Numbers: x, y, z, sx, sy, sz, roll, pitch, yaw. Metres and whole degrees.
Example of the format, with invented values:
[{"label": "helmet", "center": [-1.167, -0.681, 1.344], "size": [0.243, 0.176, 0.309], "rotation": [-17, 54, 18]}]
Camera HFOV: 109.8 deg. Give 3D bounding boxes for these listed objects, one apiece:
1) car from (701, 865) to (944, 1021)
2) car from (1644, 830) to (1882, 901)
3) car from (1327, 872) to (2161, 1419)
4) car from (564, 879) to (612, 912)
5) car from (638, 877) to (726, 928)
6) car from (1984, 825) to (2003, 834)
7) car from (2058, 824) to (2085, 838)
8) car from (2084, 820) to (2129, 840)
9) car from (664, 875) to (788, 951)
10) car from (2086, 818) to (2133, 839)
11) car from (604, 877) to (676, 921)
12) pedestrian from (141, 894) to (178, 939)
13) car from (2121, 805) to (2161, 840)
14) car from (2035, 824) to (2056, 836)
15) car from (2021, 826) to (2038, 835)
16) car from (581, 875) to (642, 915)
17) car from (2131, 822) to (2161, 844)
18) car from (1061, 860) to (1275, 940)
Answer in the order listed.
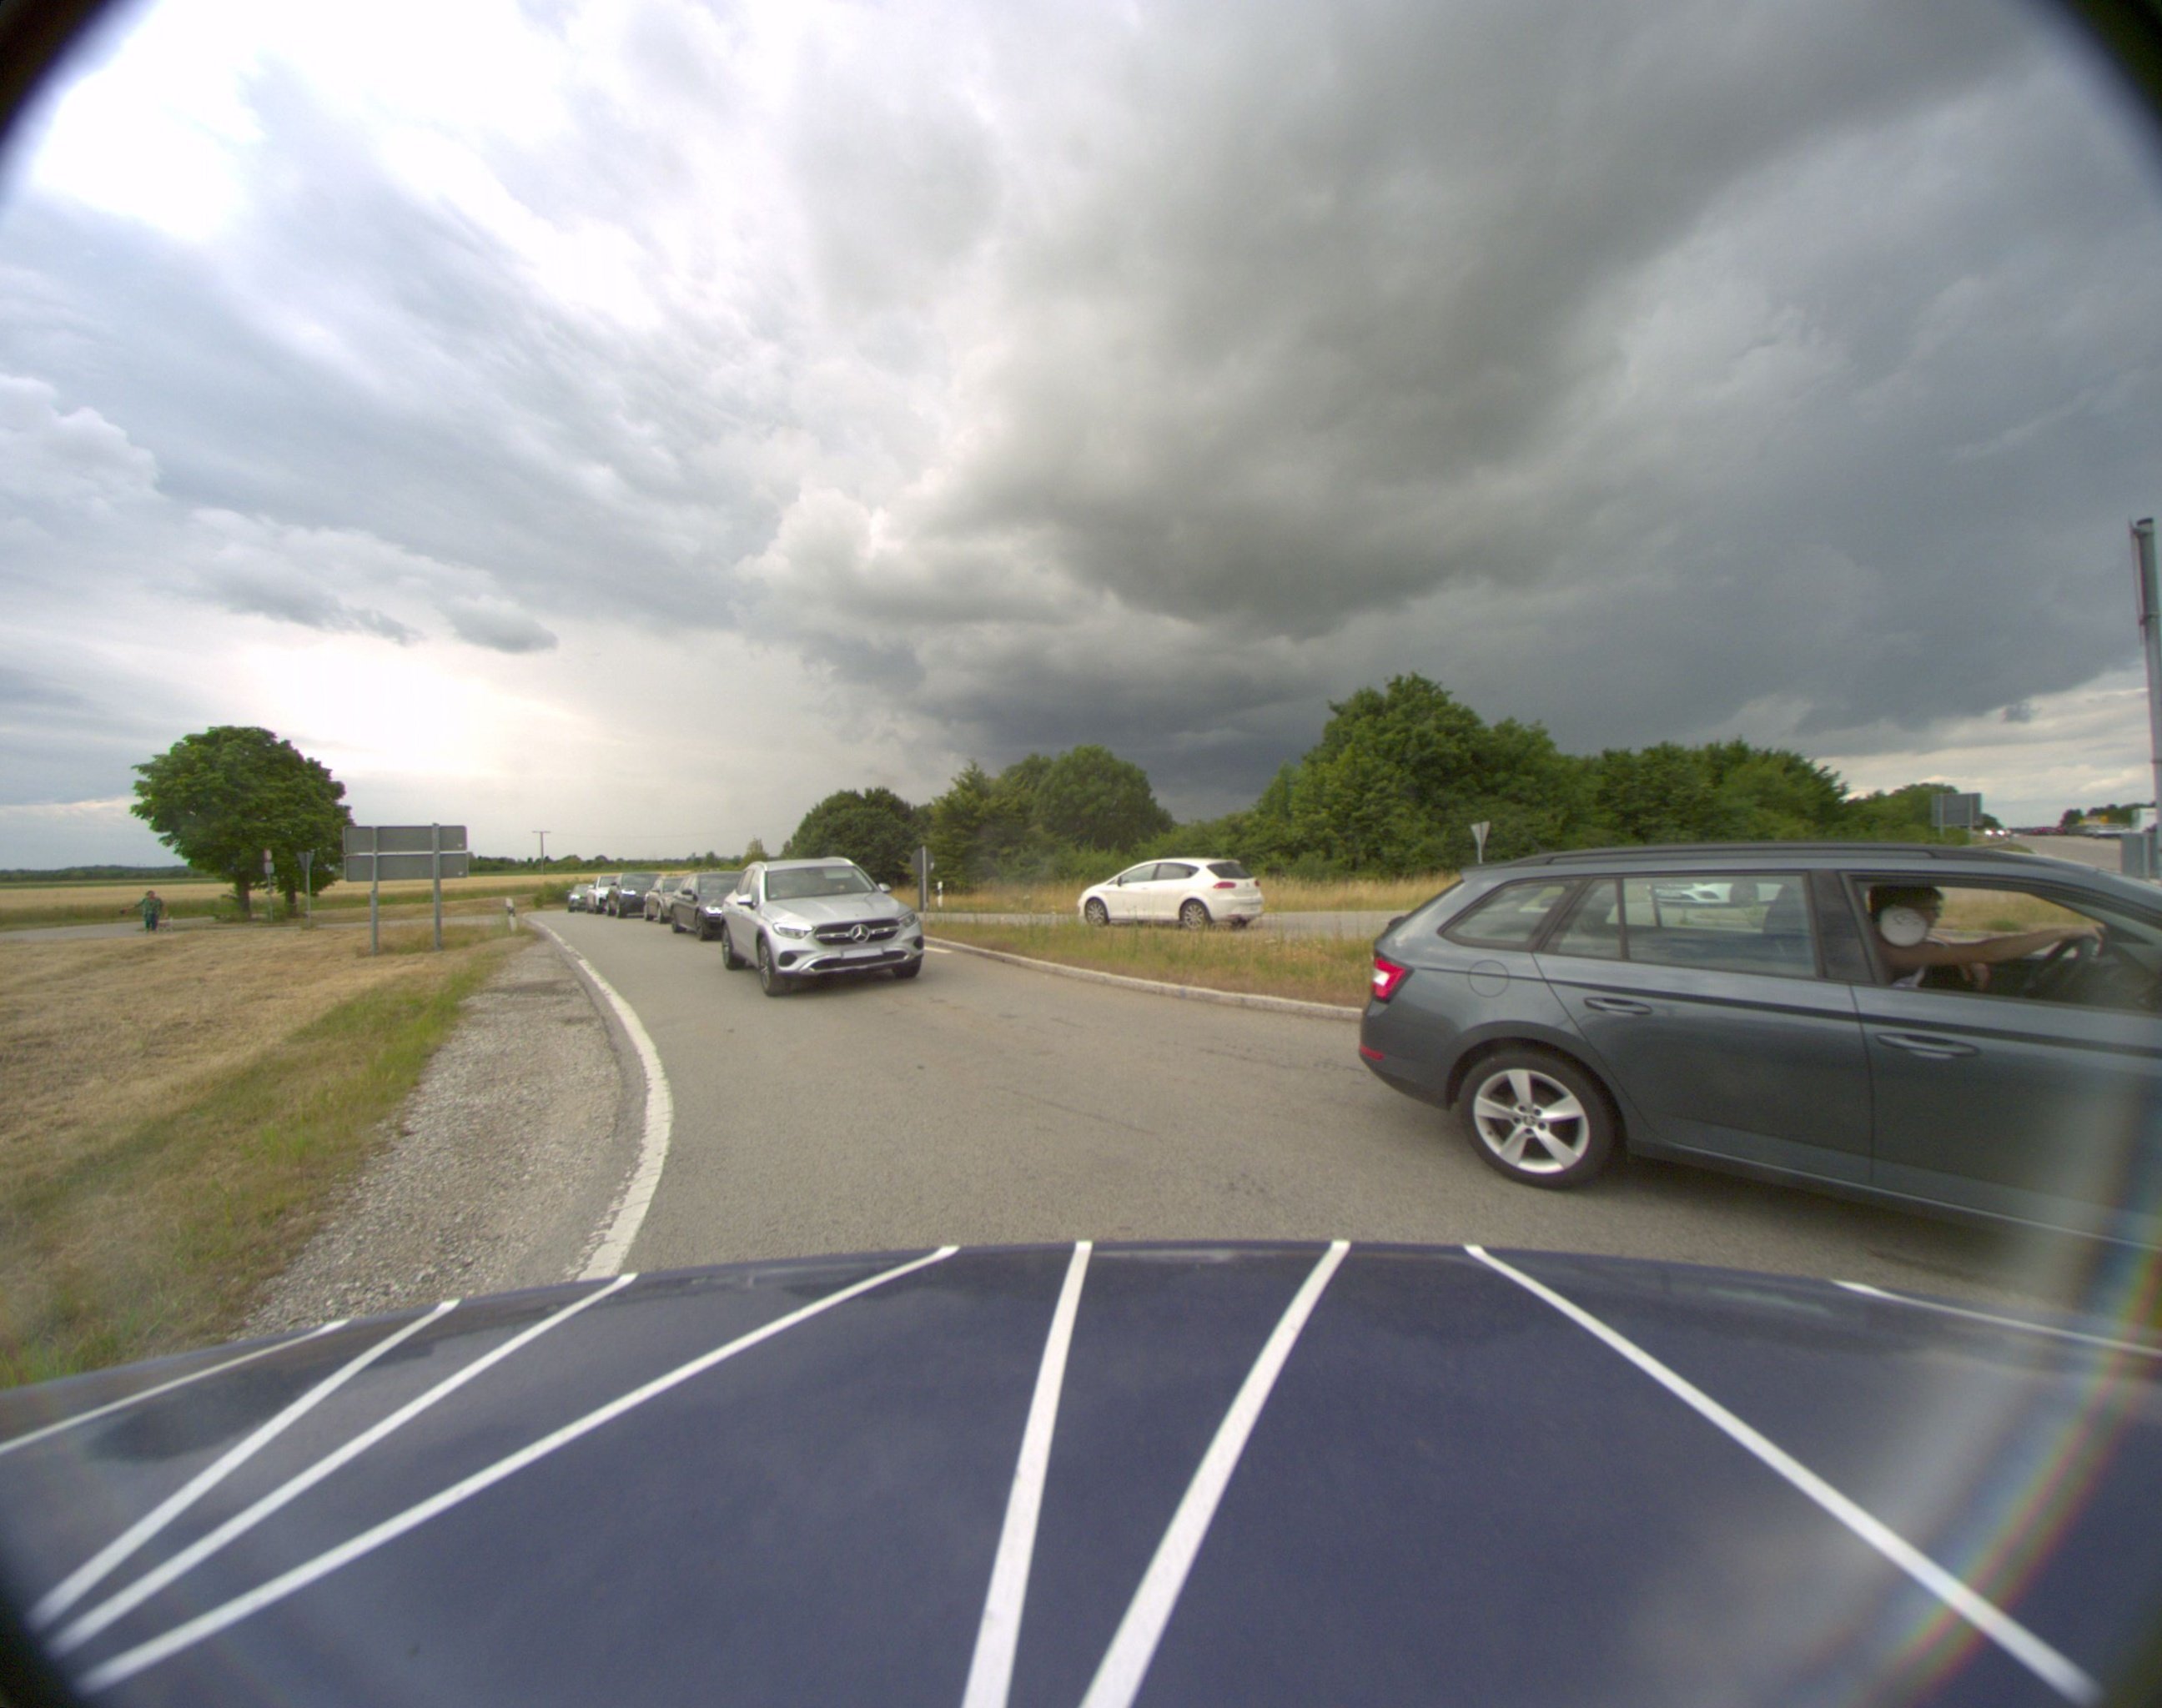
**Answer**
[{"label": "car", "center": [-3.801, 0.999, 10.598], "size": [2.000, 1.577, 4.383], "rotation": [-4, 2, -35]}, {"label": "car", "center": [15.356, 0.233, 17.181], "size": [4.394, 1.443, 1.770], "rotation": [-1, 0, -12]}, {"label": "car", "center": [3.321, 0.838, 2.974], "size": [4.105, 1.439, 1.722], "rotation": [-1, 1, 42]}, {"label": "car", "center": [-25.971, 2.128, 39.956], "size": [1.725, 1.486, 4.203], "rotation": [-4, 2, -37]}, {"label": "car", "center": [-12.603, 1.443, 23.882], "size": [1.725, 1.345, 4.203], "rotation": [-1, 0, -37]}, {"label": "car", "center": [163.269, -4.428, 135.994], "size": [4.008, 1.474, 1.994], "rotation": [-2, 1, -42]}, {"label": "car", "center": [128.880, -2.978, 98.862], "size": [4.008, 1.739, 1.853], "rotation": [-1, 0, -41]}, {"label": "car", "center": [107.635, -2.478, 79.812], "size": [4.885, 1.910, 2.334], "rotation": [-1, 0, -42]}, {"label": "car", "center": [-8.364, 1.248, 17.644], "size": [1.725, 1.345, 4.683], "rotation": [-4, 2, -35]}, {"label": "car", "center": [103.034, -2.551, 76.179], "size": [4.885, 1.910, 2.335], "rotation": [-1, 0, -42]}, {"label": "car", "center": [-16.558, 1.636, 28.411], "size": [1.725, 1.345, 4.203], "rotation": [-4, 2, -37]}, {"label": "pedestrian", "center": [-34.513, 2.330, 28.468], "size": [0.942, 1.601, 0.775], "rotation": [-1, 0, 35]}, {"label": "car", "center": [95.209, -2.780, 67.691], "size": [6.571, 3.011, 2.334], "rotation": [-1, 0, -42]}, {"label": "car", "center": [155.446, -3.846, 122.476], "size": [4.008, 1.739, 1.853], "rotation": [-1, 0, -41]}, {"label": "car", "center": [175.646, -4.343, 140.742], "size": [4.008, 1.543, 1.792], "rotation": [-1, 0, -42]}, {"label": "car", "center": [-20.730, 1.763, 33.480], "size": [1.725, 1.486, 4.626], "rotation": [-4, 2, -37]}, {"label": "car", "center": [87.424, -1.696, 61.845], "size": [4.008, 1.739, 1.853], "rotation": [-1, 0, -42]}, {"label": "car", "center": [1.724, 0.862, 16.140], "size": [4.300, 1.400, 1.824], "rotation": [0, 1, 44]}]
